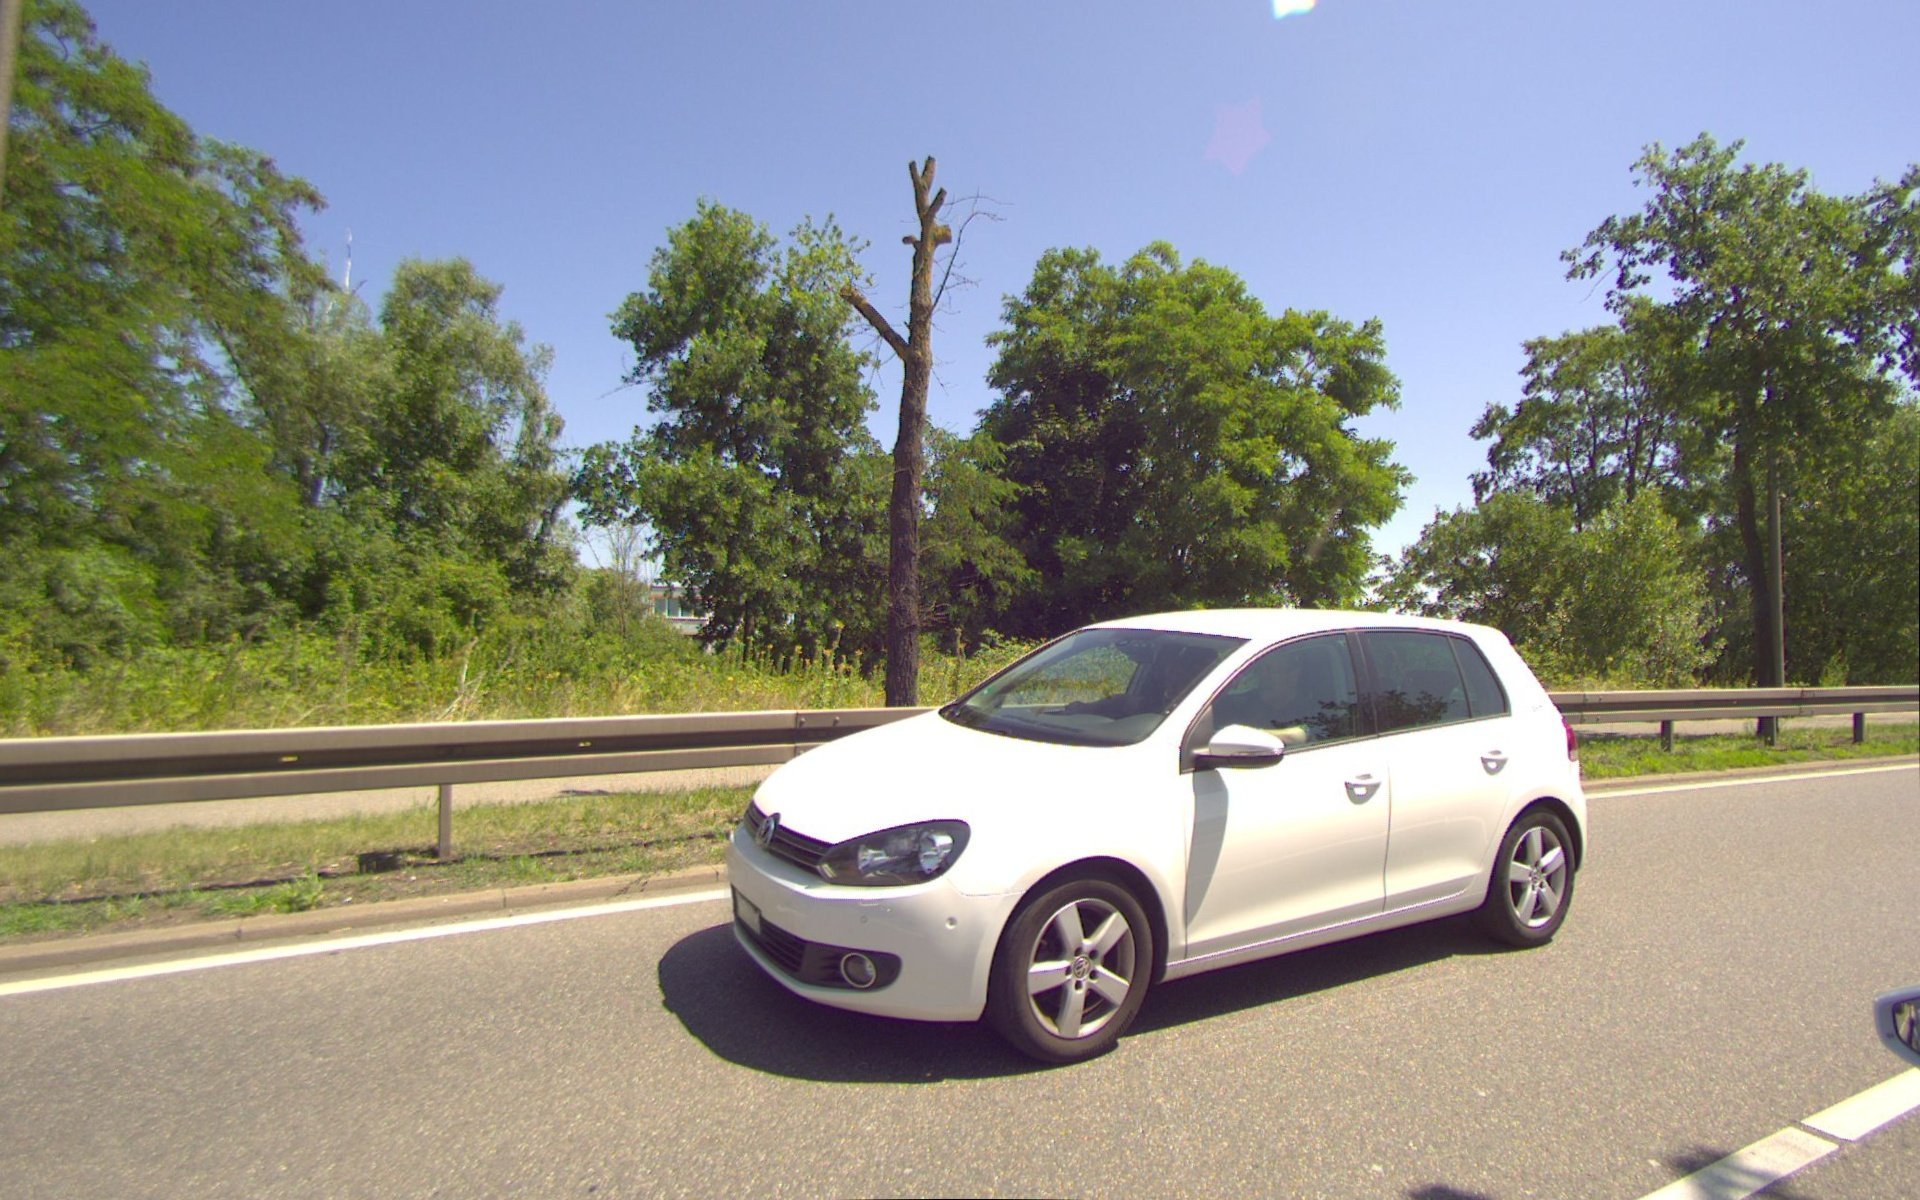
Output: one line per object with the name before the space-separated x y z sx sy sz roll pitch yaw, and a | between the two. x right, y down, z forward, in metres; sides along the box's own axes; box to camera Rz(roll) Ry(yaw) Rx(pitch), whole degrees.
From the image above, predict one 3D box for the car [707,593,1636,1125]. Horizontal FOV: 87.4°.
car | 1.073 0.752 4.534 3.976 1.458 1.716 1 0 -30
